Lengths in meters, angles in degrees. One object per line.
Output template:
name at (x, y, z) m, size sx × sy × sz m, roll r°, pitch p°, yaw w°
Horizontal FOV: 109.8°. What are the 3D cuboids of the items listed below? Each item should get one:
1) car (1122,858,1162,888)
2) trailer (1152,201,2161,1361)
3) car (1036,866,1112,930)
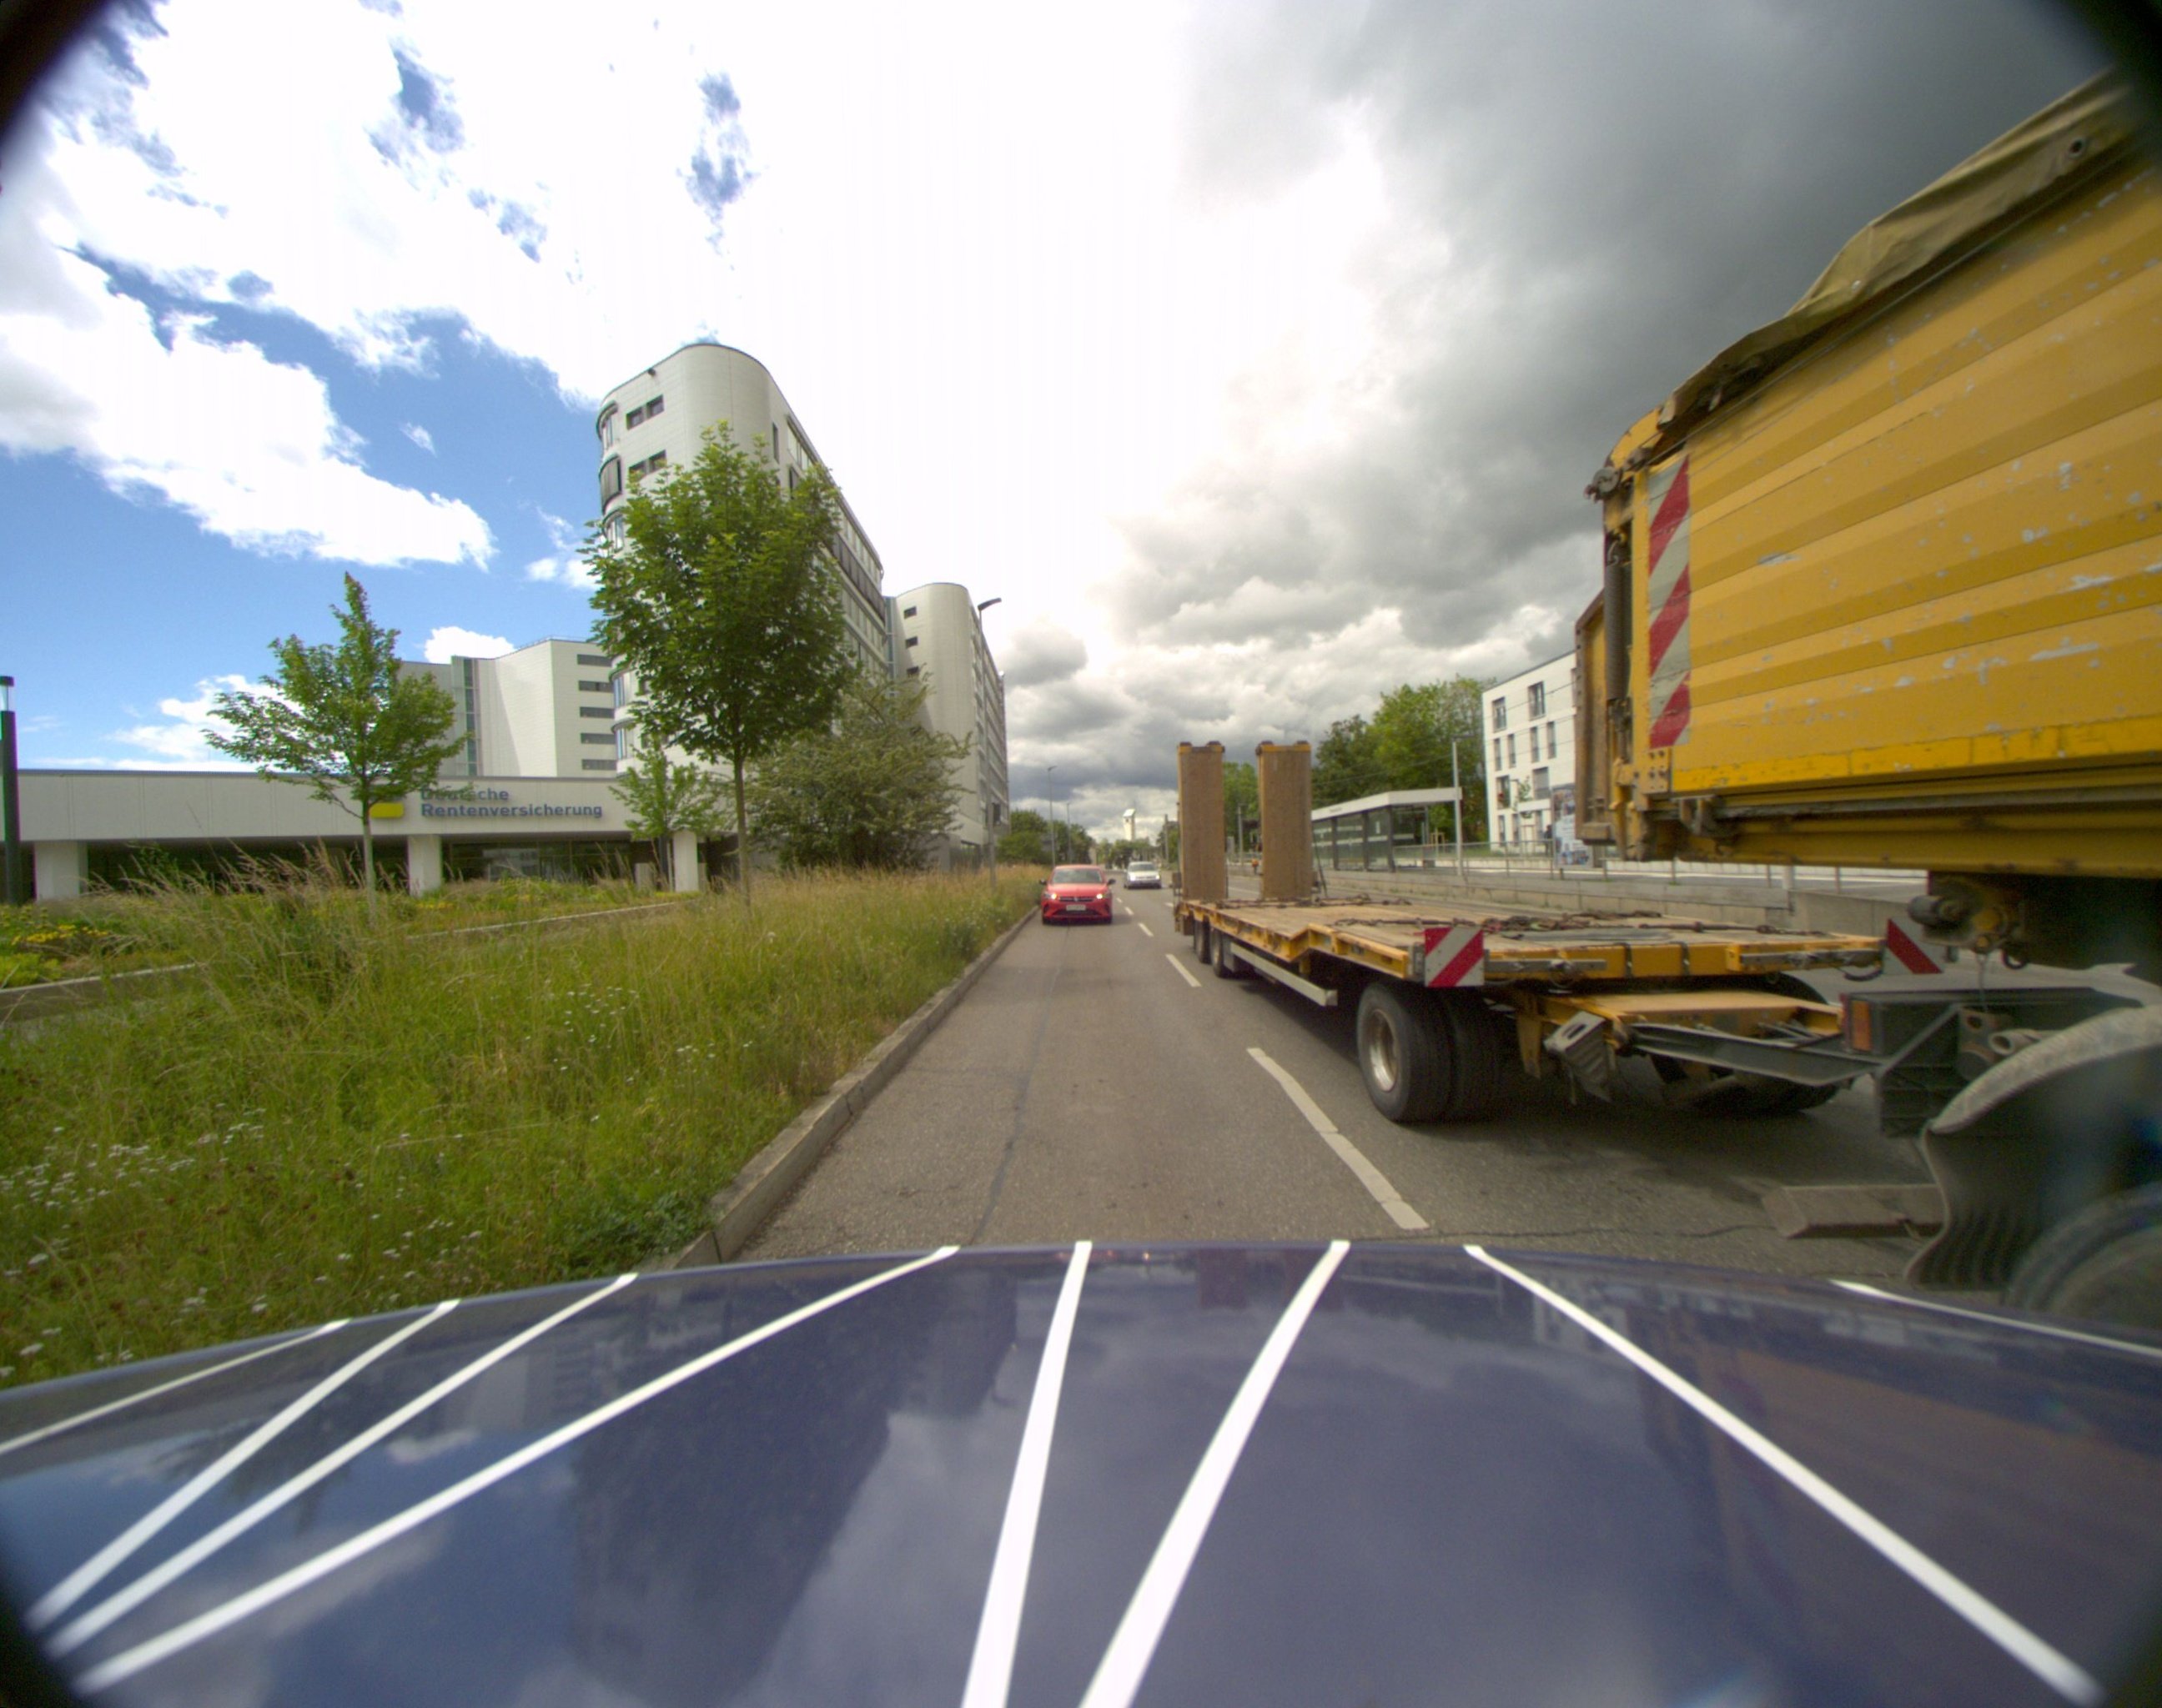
car at (3.136, 0.944, 39.394) m, size 1.784 × 1.408 × 3.785 m, roll -2°, pitch 0°, yaw 1°
trailer at (2.862, -0.235, 7.943) m, size 3.057 × 3.676 × 10.965 m, roll -2°, pitch 0°, yaw 0°
car at (-0.125, 1.042, 19.478) m, size 1.749 × 1.408 × 3.676 m, roll -1°, pitch 0°, yaw 1°
